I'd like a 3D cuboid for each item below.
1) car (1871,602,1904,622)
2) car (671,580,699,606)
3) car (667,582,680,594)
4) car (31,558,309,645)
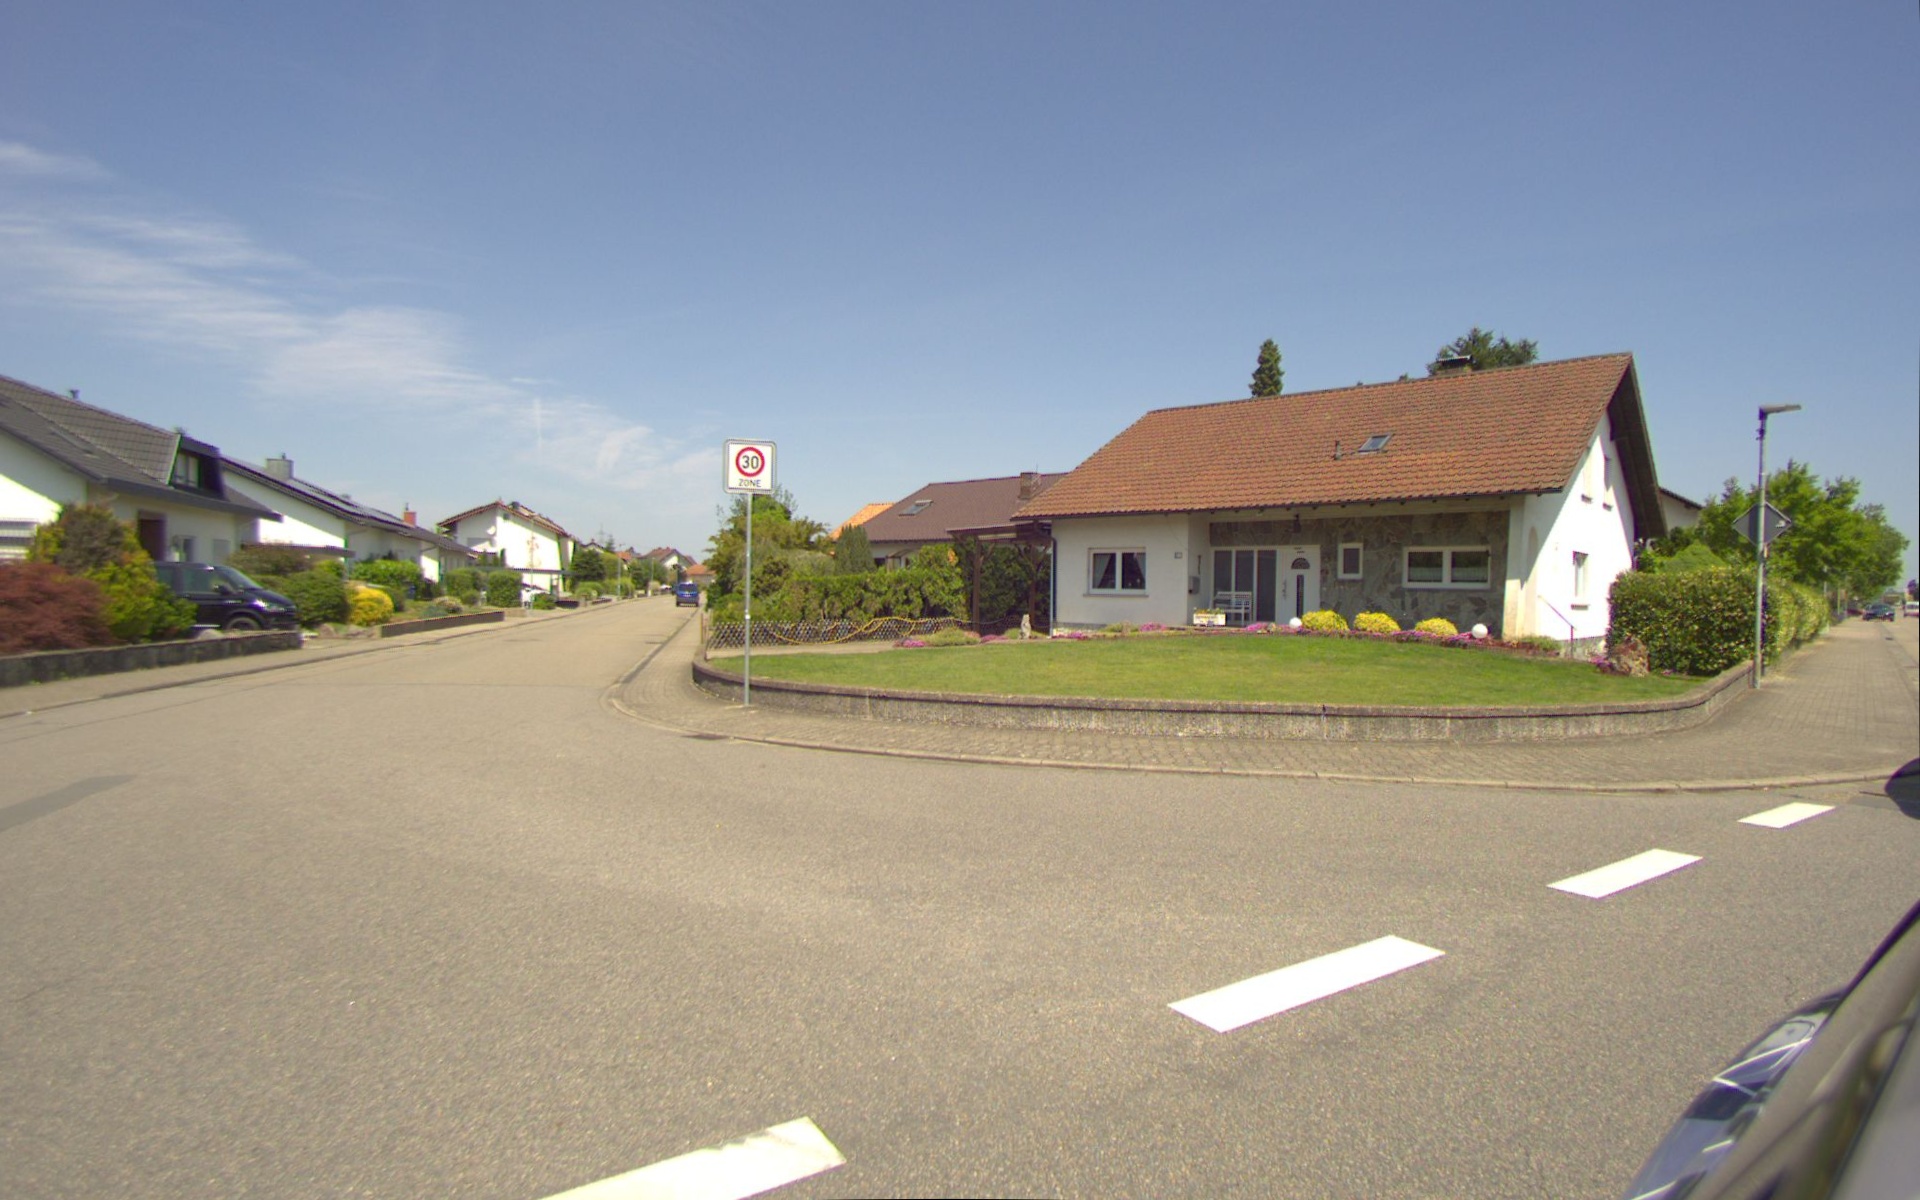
[{"bbox_3d":[79.832,1.032,87.093,1.994,1.616,3.936,2,2,45],"label":"car"},{"bbox_3d":[-20.953,-0.583,77.187,1.790,1.905,4.008,0,1,-12],"label":"car"},{"bbox_3d":[-47.402,-1.949,167.463,1.837,1.950,4.009,0,1,-18],"label":"car"},{"bbox_3d":[-18.656,0.027,24.203,4.862,1.939,1.932,0,1,-20],"label":"car"}]
